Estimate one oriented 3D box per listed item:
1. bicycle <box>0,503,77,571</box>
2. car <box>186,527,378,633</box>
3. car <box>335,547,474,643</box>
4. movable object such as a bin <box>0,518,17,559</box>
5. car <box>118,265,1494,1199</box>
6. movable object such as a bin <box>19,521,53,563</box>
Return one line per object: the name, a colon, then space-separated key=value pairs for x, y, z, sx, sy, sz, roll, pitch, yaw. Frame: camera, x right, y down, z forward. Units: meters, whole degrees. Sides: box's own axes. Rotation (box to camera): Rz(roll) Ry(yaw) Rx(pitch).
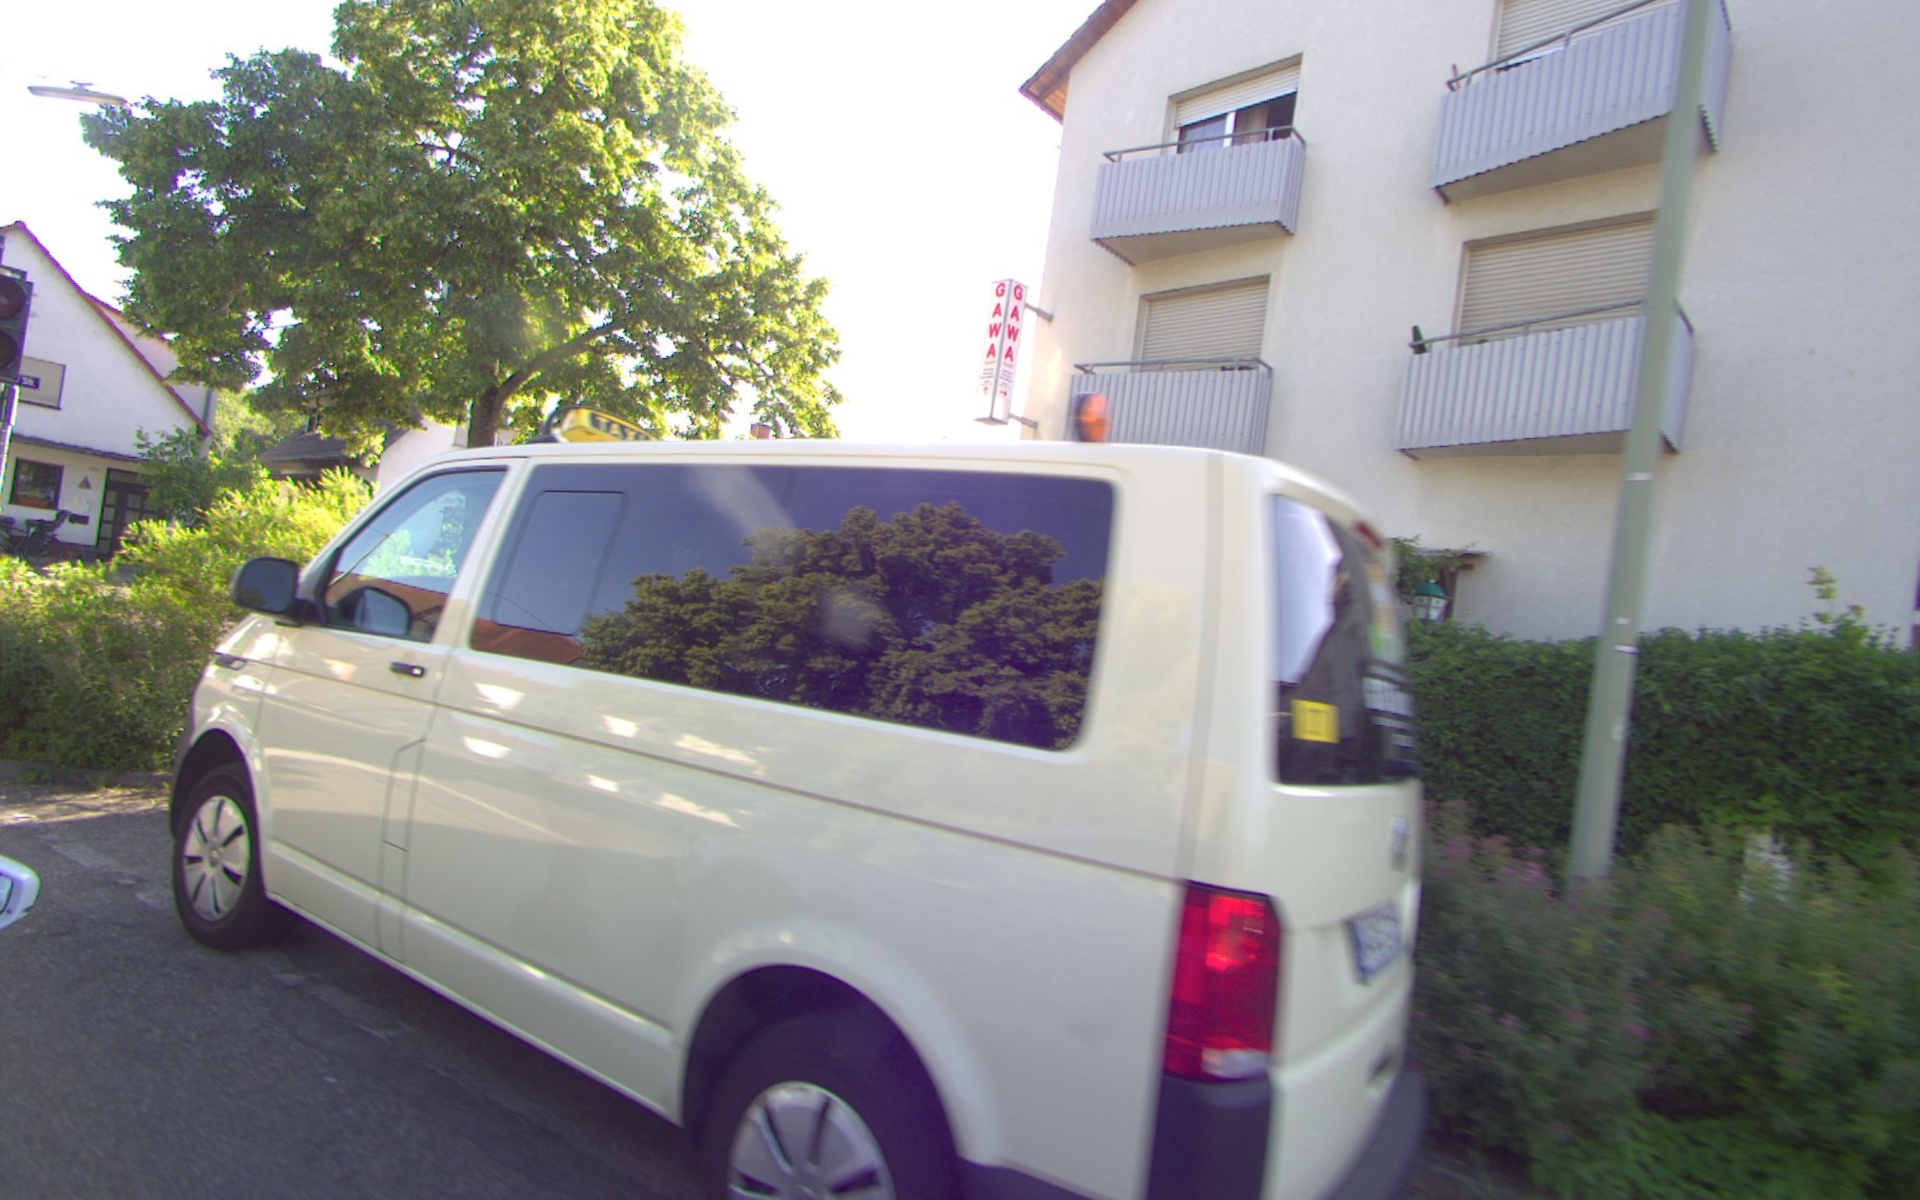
bicycle: x=-21.049 y=-1.449 z=22.496 sx=0.690 sy=1.298 sz=1.738 roll=6 pitch=-3 yaw=39
car: x=-13.854 y=-0.453 z=20.437 sx=4.734 sy=1.438 sz=1.993 roll=8 pitch=-2 yaw=41
car: x=-12.569 y=-0.175 z=22.623 sx=1.704 sy=1.534 sz=4.352 roll=11 pitch=-2 yaw=-41
movable object such as a bin: x=-24.440 y=-1.586 z=25.555 sx=0.660 sy=0.994 sz=0.529 roll=7 pitch=-2 yaw=41
car: x=-0.828 y=0.456 z=3.609 sx=4.505 sy=2.102 sz=1.997 roll=6 pitch=-3 yaw=34
movable object such as a bin: x=-23.996 y=-1.515 z=26.118 sx=0.585 sy=0.988 sz=0.497 roll=7 pitch=-2 yaw=41
